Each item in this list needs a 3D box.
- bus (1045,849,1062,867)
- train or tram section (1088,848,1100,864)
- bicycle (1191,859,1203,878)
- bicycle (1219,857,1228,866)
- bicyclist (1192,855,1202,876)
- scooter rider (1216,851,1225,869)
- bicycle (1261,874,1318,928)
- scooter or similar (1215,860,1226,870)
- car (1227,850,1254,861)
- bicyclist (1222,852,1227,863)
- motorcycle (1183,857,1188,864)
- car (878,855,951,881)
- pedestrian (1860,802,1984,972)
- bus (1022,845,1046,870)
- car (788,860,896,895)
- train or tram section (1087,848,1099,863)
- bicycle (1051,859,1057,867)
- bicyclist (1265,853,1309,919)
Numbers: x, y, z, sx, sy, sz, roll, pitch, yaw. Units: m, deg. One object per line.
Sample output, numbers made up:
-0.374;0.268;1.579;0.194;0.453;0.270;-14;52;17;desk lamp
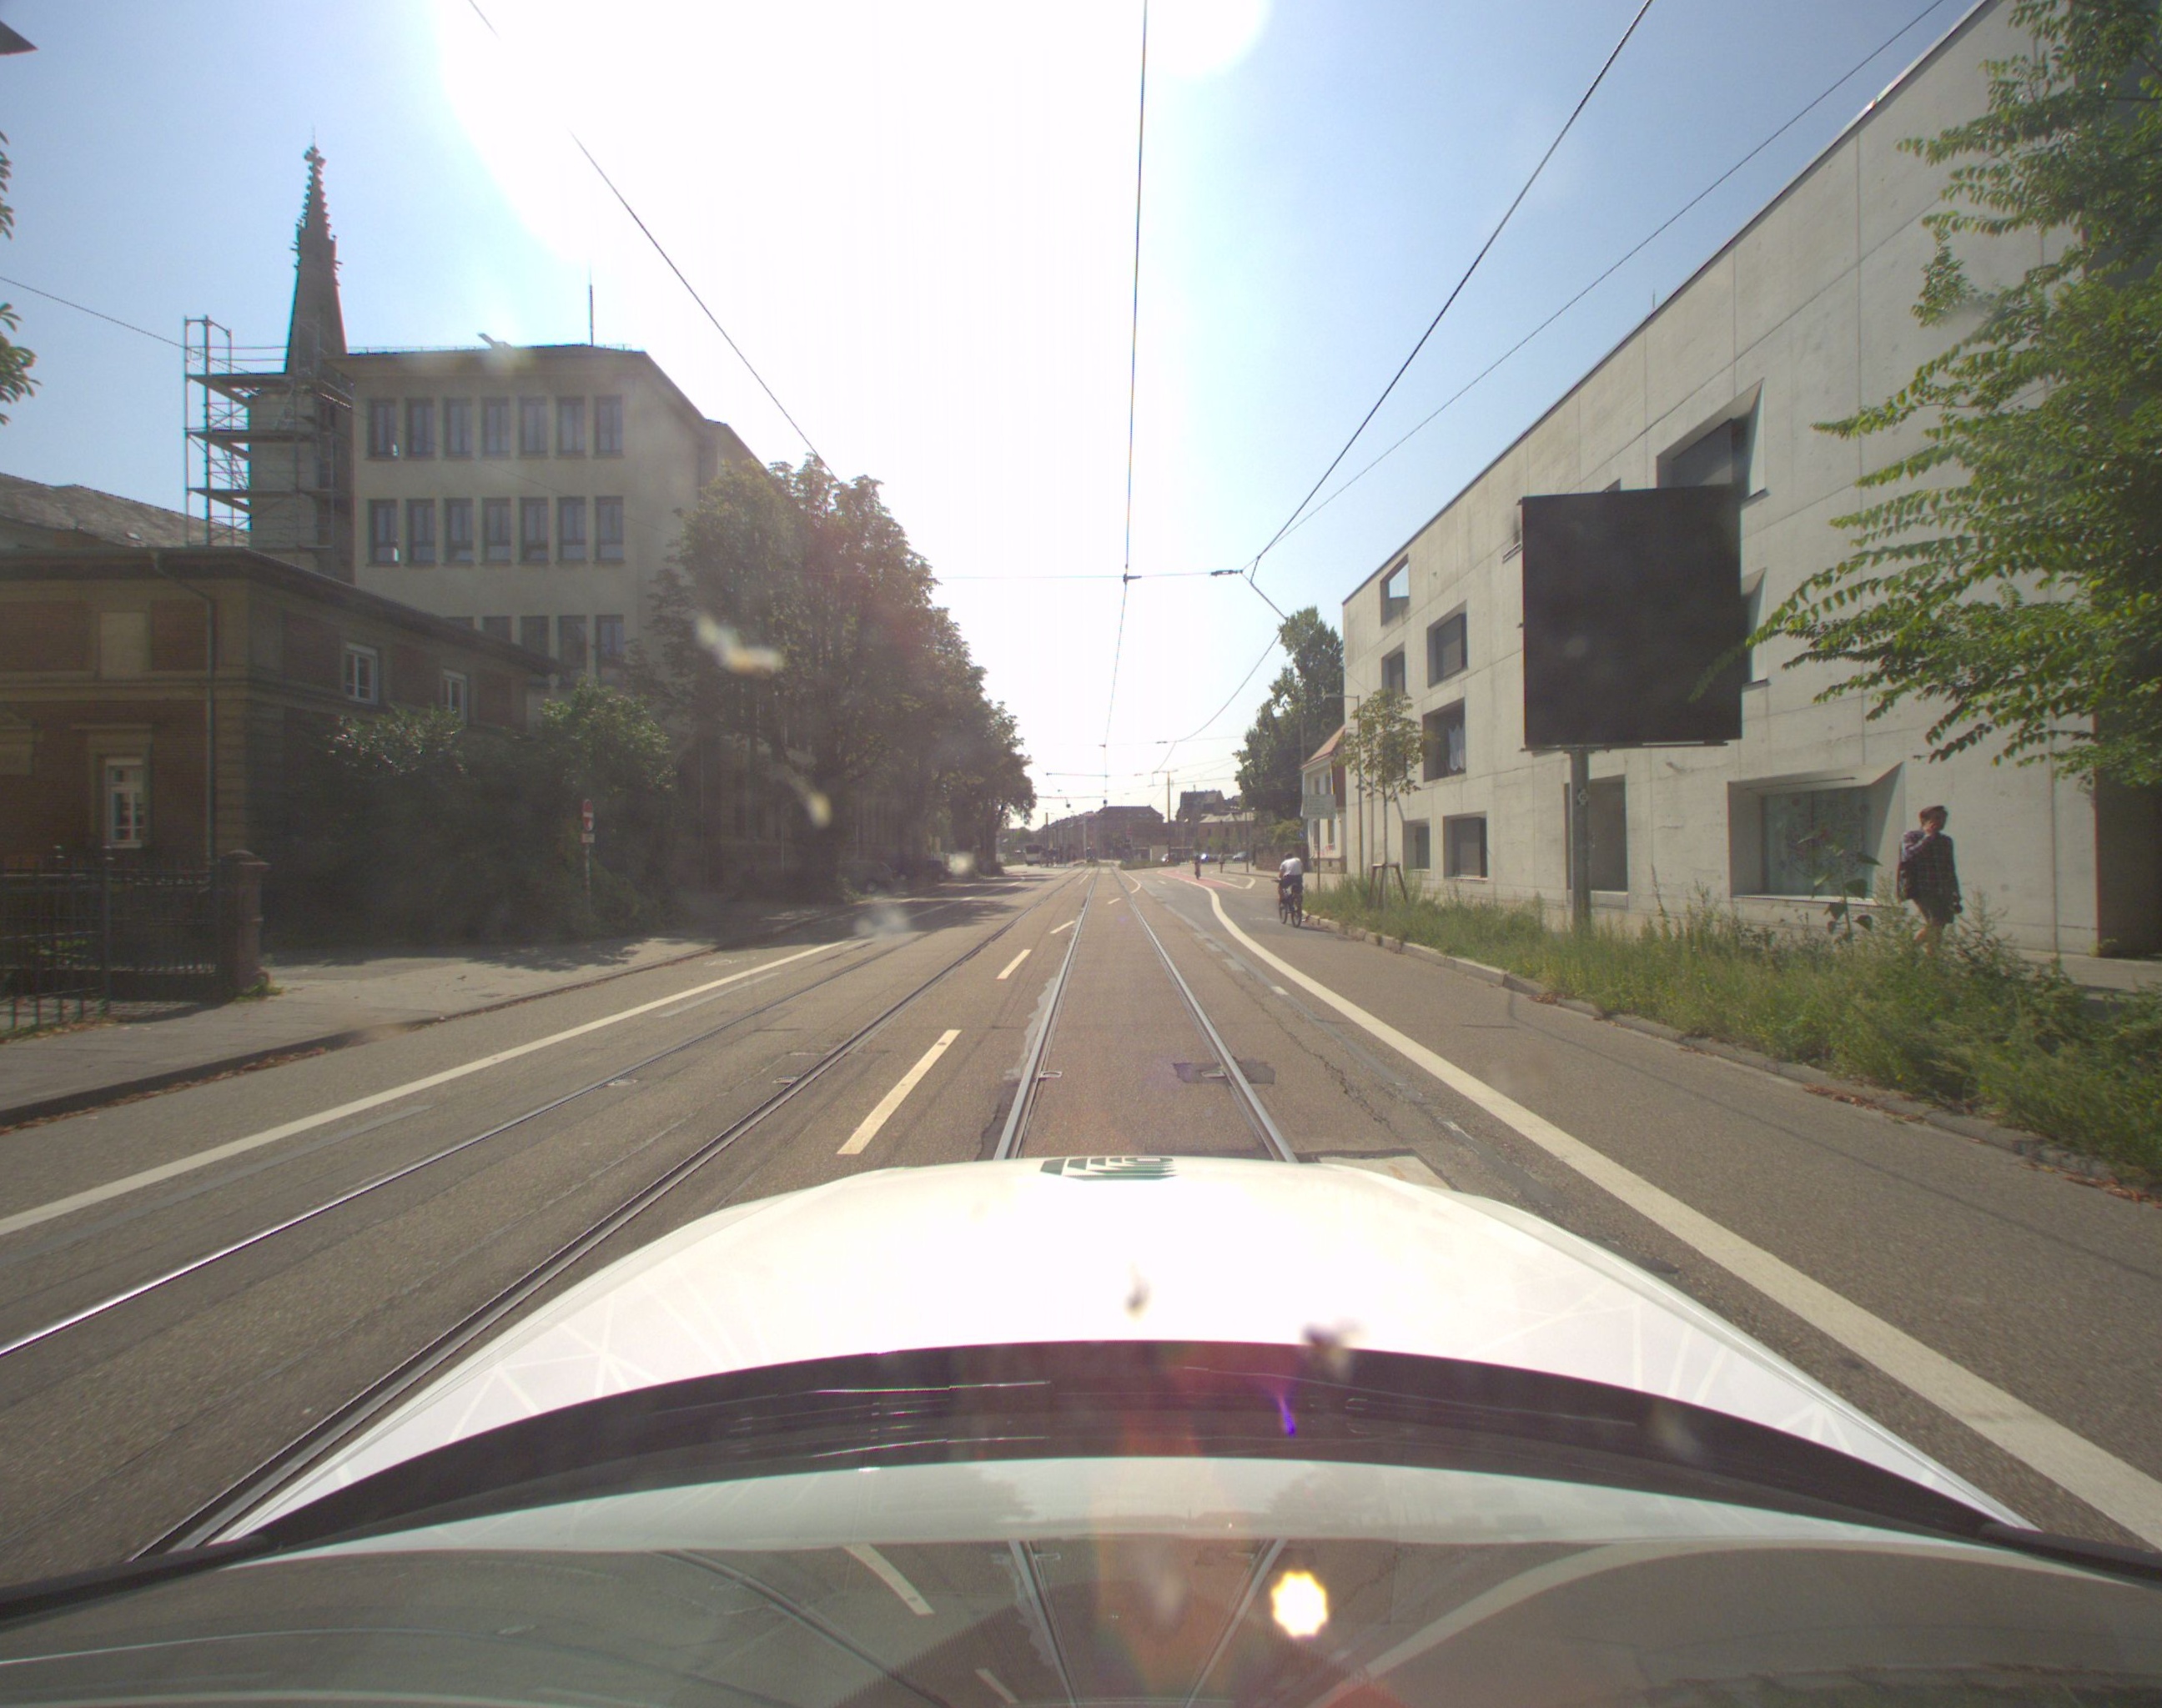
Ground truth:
-5.742;0.815;173.219;2.698;3.727;10.427;0;0;3;bus
3.537;0.609;216.809;2.875;4.068;19.150;0;0;2;train or tram section
7.343;0.936;51.479;0.601;1.163;1.812;-1;0;4;bicycle
18.638;0.977;106.421;0.440;1.117;1.455;-2;-1;38;bicycle
7.346;0.709;51.510;0.600;1.335;0.660;-1;0;4;bicyclist
13.571;0.587;79.052;0.756;1.775;0.558;-1;-1;19;scooter rider
4.511;0.986;17.799;0.736;1.049;2.234;0;0;2;bicycle
13.490;1.032;78.771;0.766;0.926;1.628;0;0;19;scooter or similar
25.110;0.183;127.957;4.700;1.610;1.756;-1;0;-45;car
18.754;0.398;106.596;0.445;1.421;0.499;-2;-1;38;bicyclist
17.672;1.082;137.902;0.600;1.210;2.261;-1;0;13;motorcycle
-10.498;0.863;51.551;4.182;1.496;1.801;-1;0;-36;car
8.913;0.339;8.657;0.689;1.732;0.580;-1;0;3;pedestrian
-7.349;0.570;128.122;2.947;3.775;10.598;0;0;1;bus
-10.675;1.008;36.459;4.437;1.462;1.806;0;0;-26;car
2.975;0.406;198.324;2.846;3.548;17.746;0;0;1;train or tram section
-3.827;1.273;114.720;0.604;1.222;1.708;-1;0;6;bicycle
4.505;0.681;17.886;0.742;1.411;0.962;0;0;2;bicyclist
